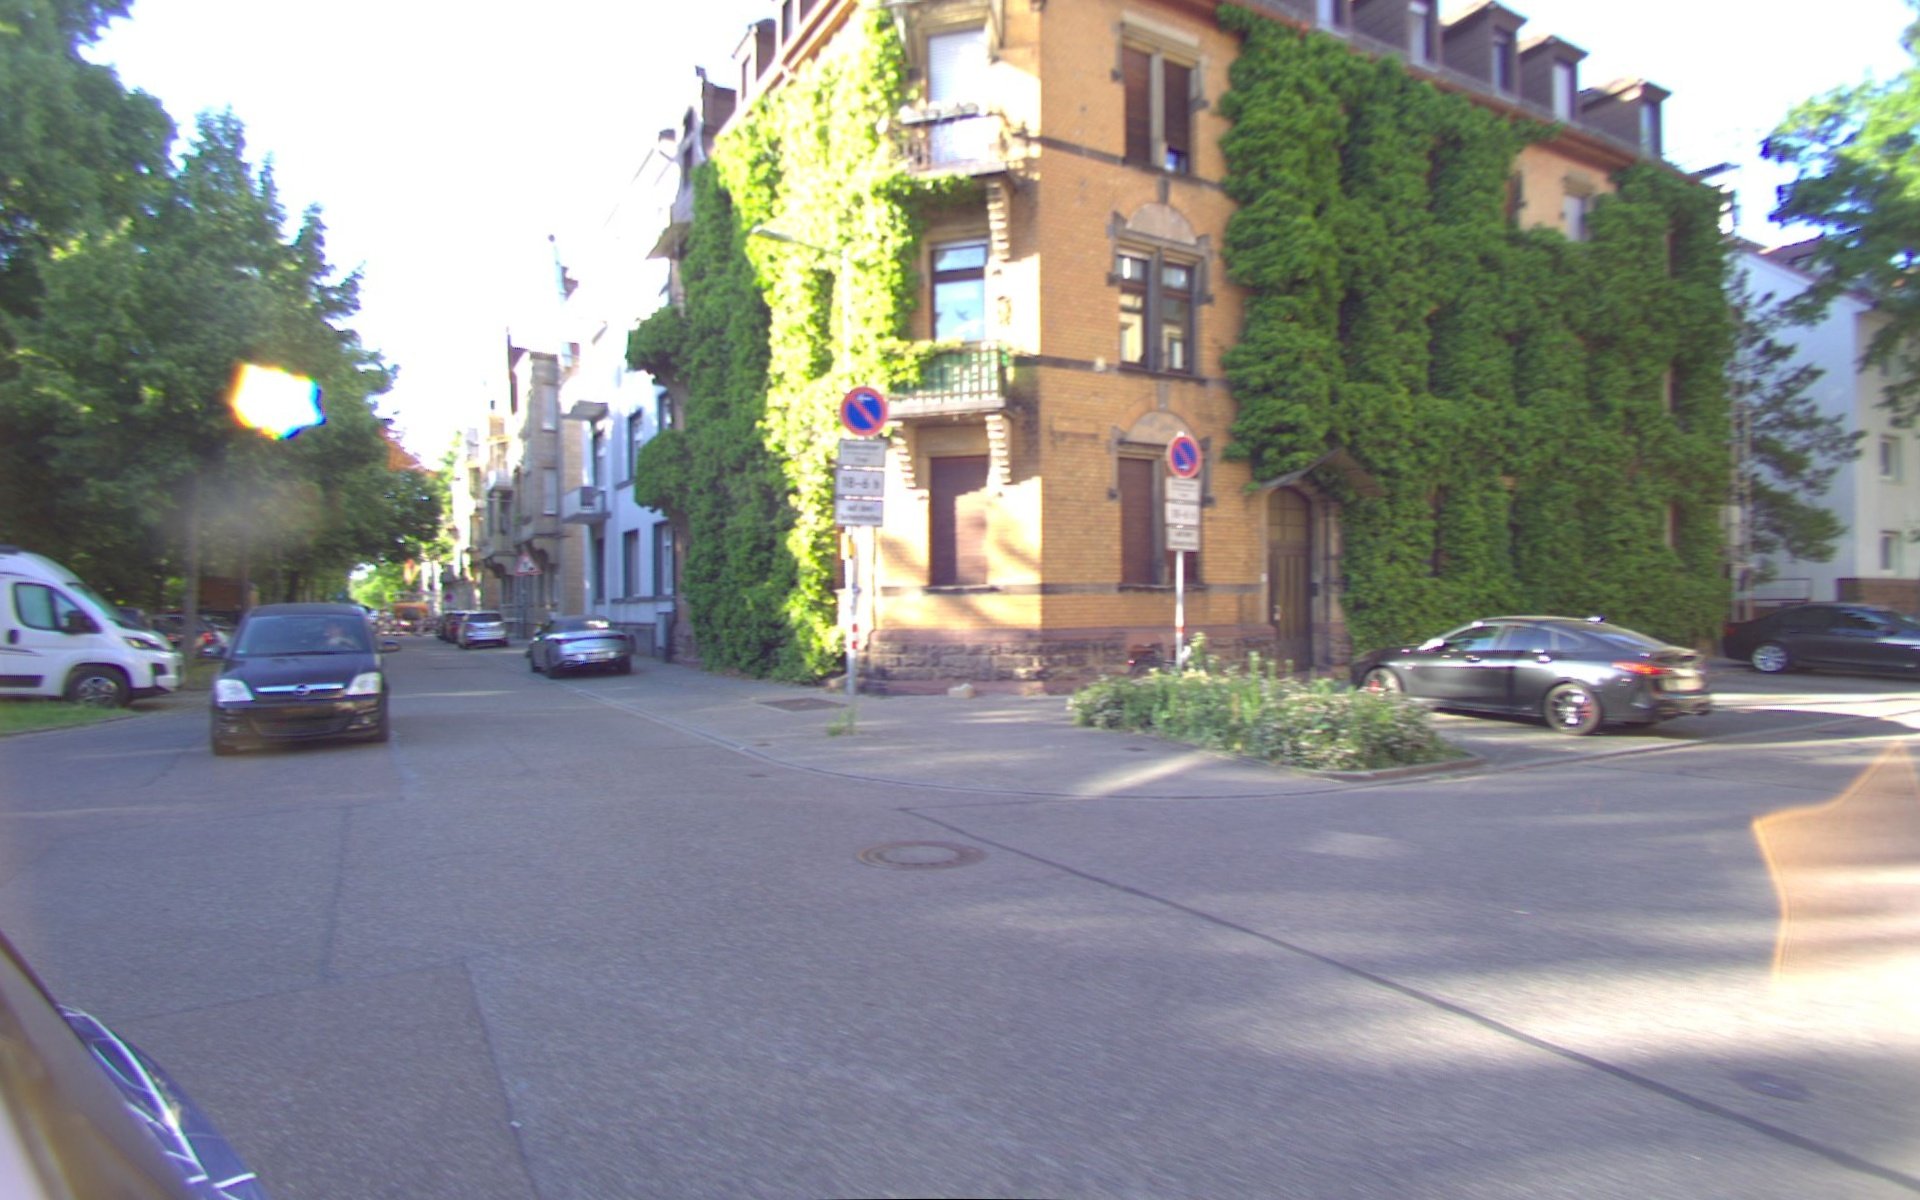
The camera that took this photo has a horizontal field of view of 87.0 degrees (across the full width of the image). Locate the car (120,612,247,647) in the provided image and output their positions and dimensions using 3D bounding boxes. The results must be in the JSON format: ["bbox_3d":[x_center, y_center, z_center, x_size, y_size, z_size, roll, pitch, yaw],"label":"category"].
[{"bbox_3d":[-30.637,1.121,40.070,3.815,1.266,1.790,0,0,-32],"label":"car"}]

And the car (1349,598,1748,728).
[{"bbox_3d":[7.707,0.699,13.704,1.966,1.446,4.270,0,0,-30],"label":"car"}]

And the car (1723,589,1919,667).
[{"bbox_3d":[18.196,0.513,19.885,1.681,1.446,4.865,0,0,-30],"label":"car"}]

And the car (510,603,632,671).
[{"bbox_3d":[-9.587,0.850,24.691,1.851,1.415,4.940,-2,0,-32],"label":"car"}]

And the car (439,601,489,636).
[{"bbox_3d":[-24.845,0.868,50.615,1.966,1.637,4.156,0,0,-30],"label":"car"}]

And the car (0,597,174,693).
[{"bbox_3d":[-16.522,0.749,17.679,4.227,1.587,1.984,0,0,-32],"label":"car"}]

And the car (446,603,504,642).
[{"bbox_3d":[-20.654,0.903,43.037,1.837,1.558,3.804,0,0,-32],"label":"car"}]

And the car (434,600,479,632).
[{"bbox_3d":[-27.811,0.846,55.832,1.966,1.637,4.156,0,0,-30],"label":"car"}]

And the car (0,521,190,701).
[{"bbox_3d":[-15.270,0.157,15.334,5.536,2.634,2.245,0,0,-32],"label":"car"}]

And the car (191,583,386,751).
[{"bbox_3d":[-7.877,0.690,12.031,1.622,1.602,4.031,-2,0,-32],"label":"car"}]

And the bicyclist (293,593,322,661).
[{"bbox_3d":[-16.149,0.654,25.062,0.586,1.668,0.713,0,0,-32],"label":"bicyclist"}]

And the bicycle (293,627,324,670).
[{"bbox_3d":[-16.013,1.168,24.888,0.604,0.982,2.075,0,-1,-32],"label":"bicycle"}]

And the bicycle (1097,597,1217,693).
[{"bbox_3d":[2.765,0.609,14.187,1.575,1.278,0.566,-1,-1,-22],"label":"bicycle"}]
